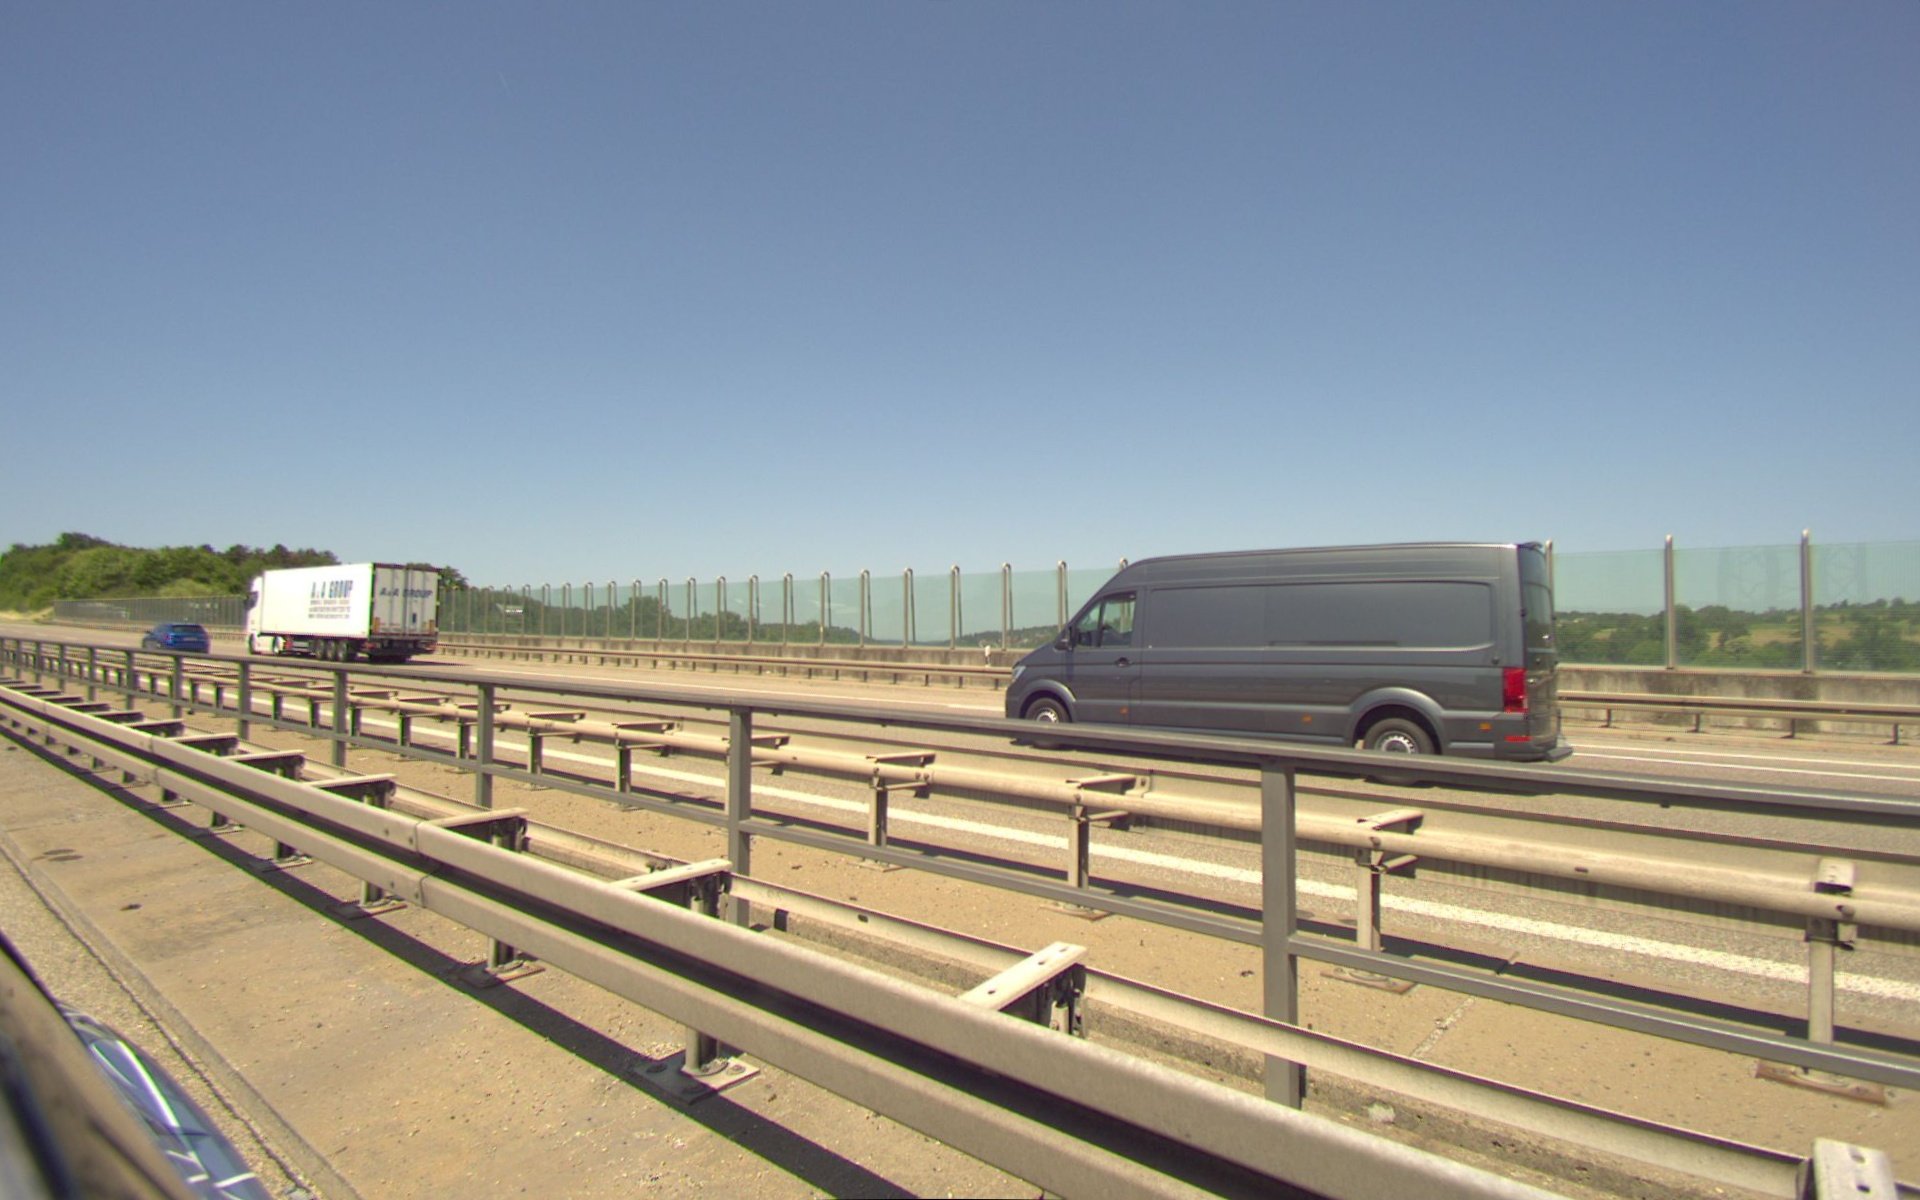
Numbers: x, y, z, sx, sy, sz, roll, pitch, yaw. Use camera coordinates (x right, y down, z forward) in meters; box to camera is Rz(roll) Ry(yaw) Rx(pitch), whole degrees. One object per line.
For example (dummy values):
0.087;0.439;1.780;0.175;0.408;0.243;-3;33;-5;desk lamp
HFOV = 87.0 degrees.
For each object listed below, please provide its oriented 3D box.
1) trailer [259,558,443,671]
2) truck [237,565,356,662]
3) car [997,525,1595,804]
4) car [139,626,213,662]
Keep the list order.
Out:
-26.978;0.640;44.315;13.657;4.340;2.875;0;-3;42;trailer
-32.081;0.704;48.818;6.855;4.326;2.898;0;-4;42;truck
3.711;0.663;12.335;6.644;2.602;1.973;0;-3;40;car
-34.892;1.921;45.003;4.602;1.503;1.754;-1;-3;41;car
